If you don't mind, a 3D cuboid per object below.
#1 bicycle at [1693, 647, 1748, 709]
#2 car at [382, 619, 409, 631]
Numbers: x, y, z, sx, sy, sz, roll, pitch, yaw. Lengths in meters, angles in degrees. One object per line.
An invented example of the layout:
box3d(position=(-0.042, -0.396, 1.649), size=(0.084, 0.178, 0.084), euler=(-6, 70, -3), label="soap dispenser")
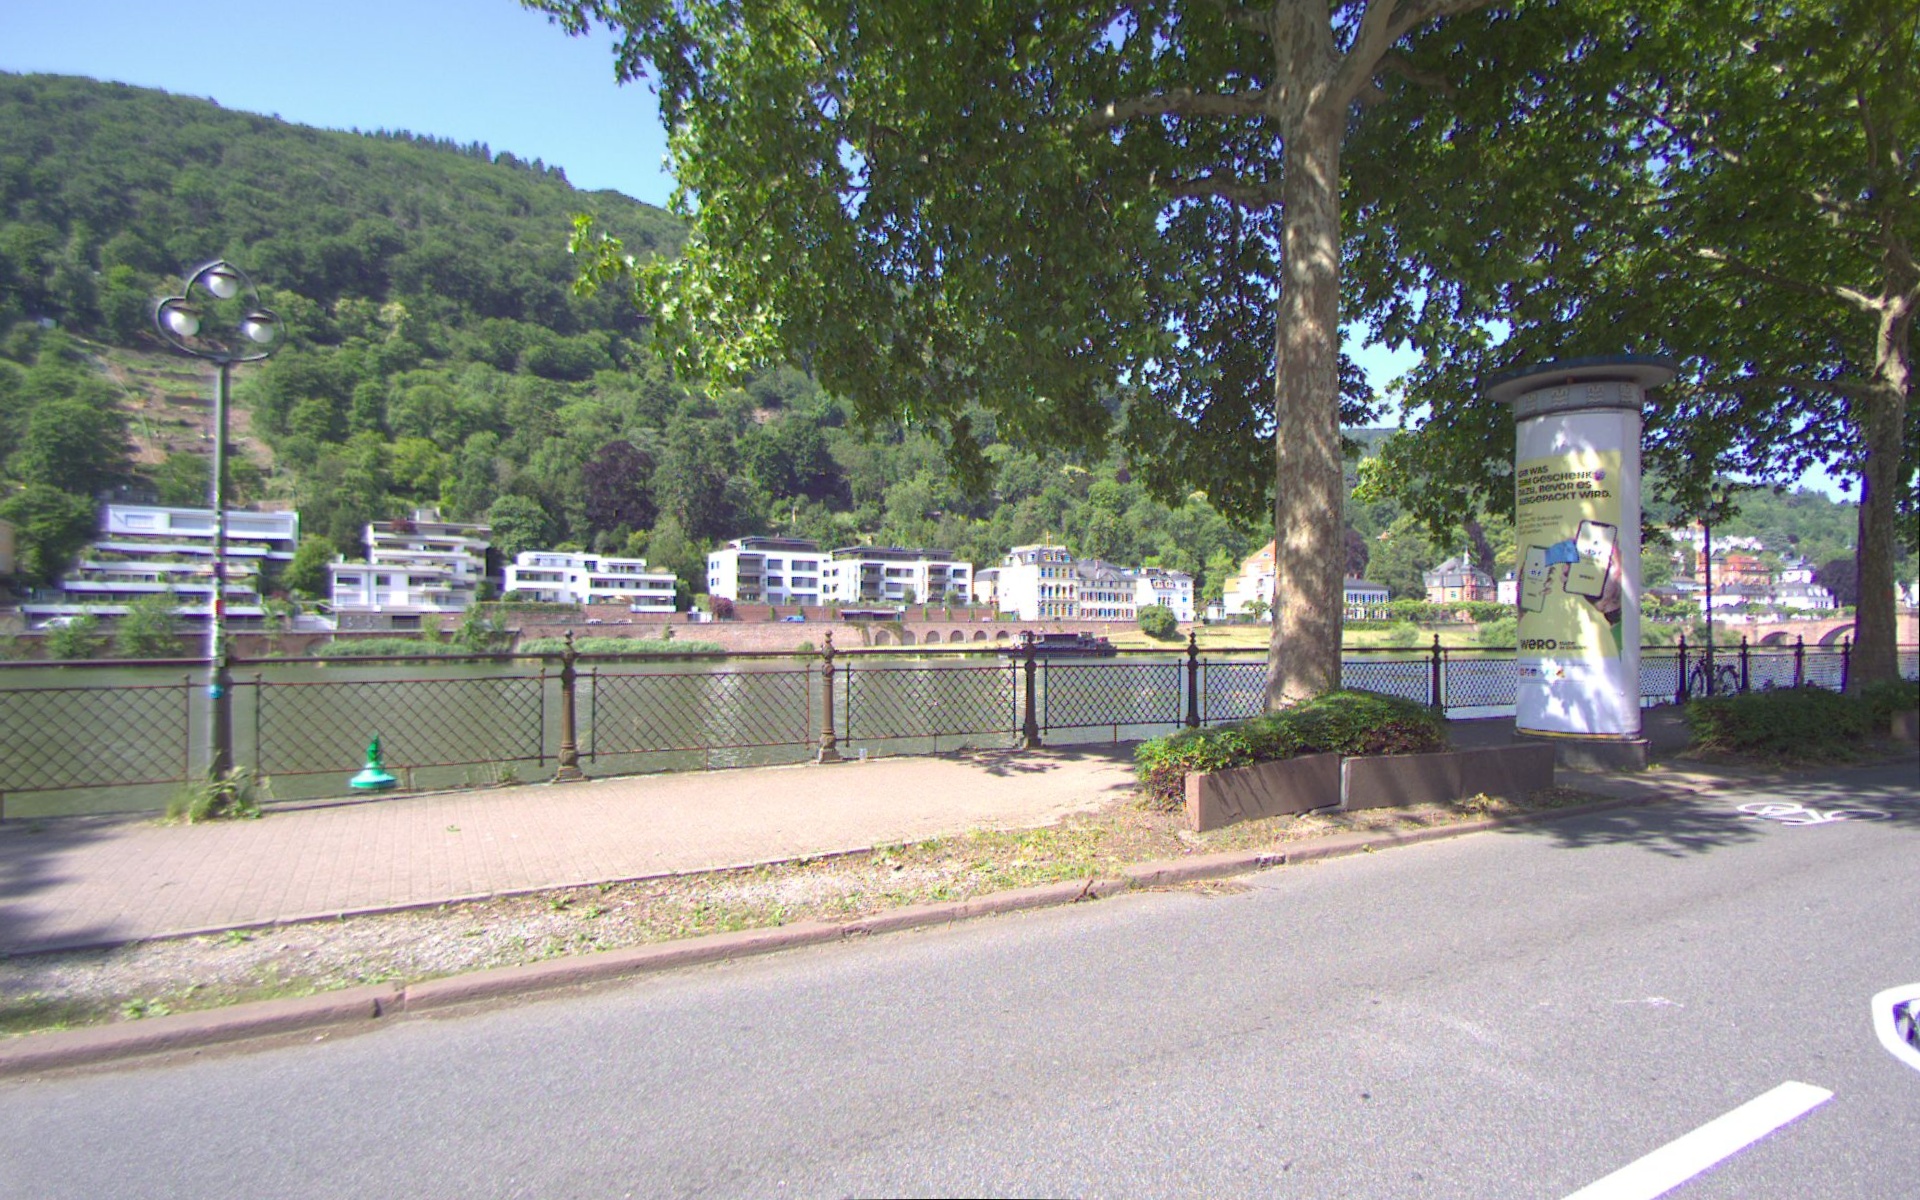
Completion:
box3d(position=(14.358, 1.455, 18.958), size=(1.281, 1.106, 0.357), euler=(1, 2, -31), label="bicycle")
box3d(position=(-95.489, 4.193, 170.056), size=(3.953, 2.040, 1.984), euler=(1, 0, -30), label="car")
